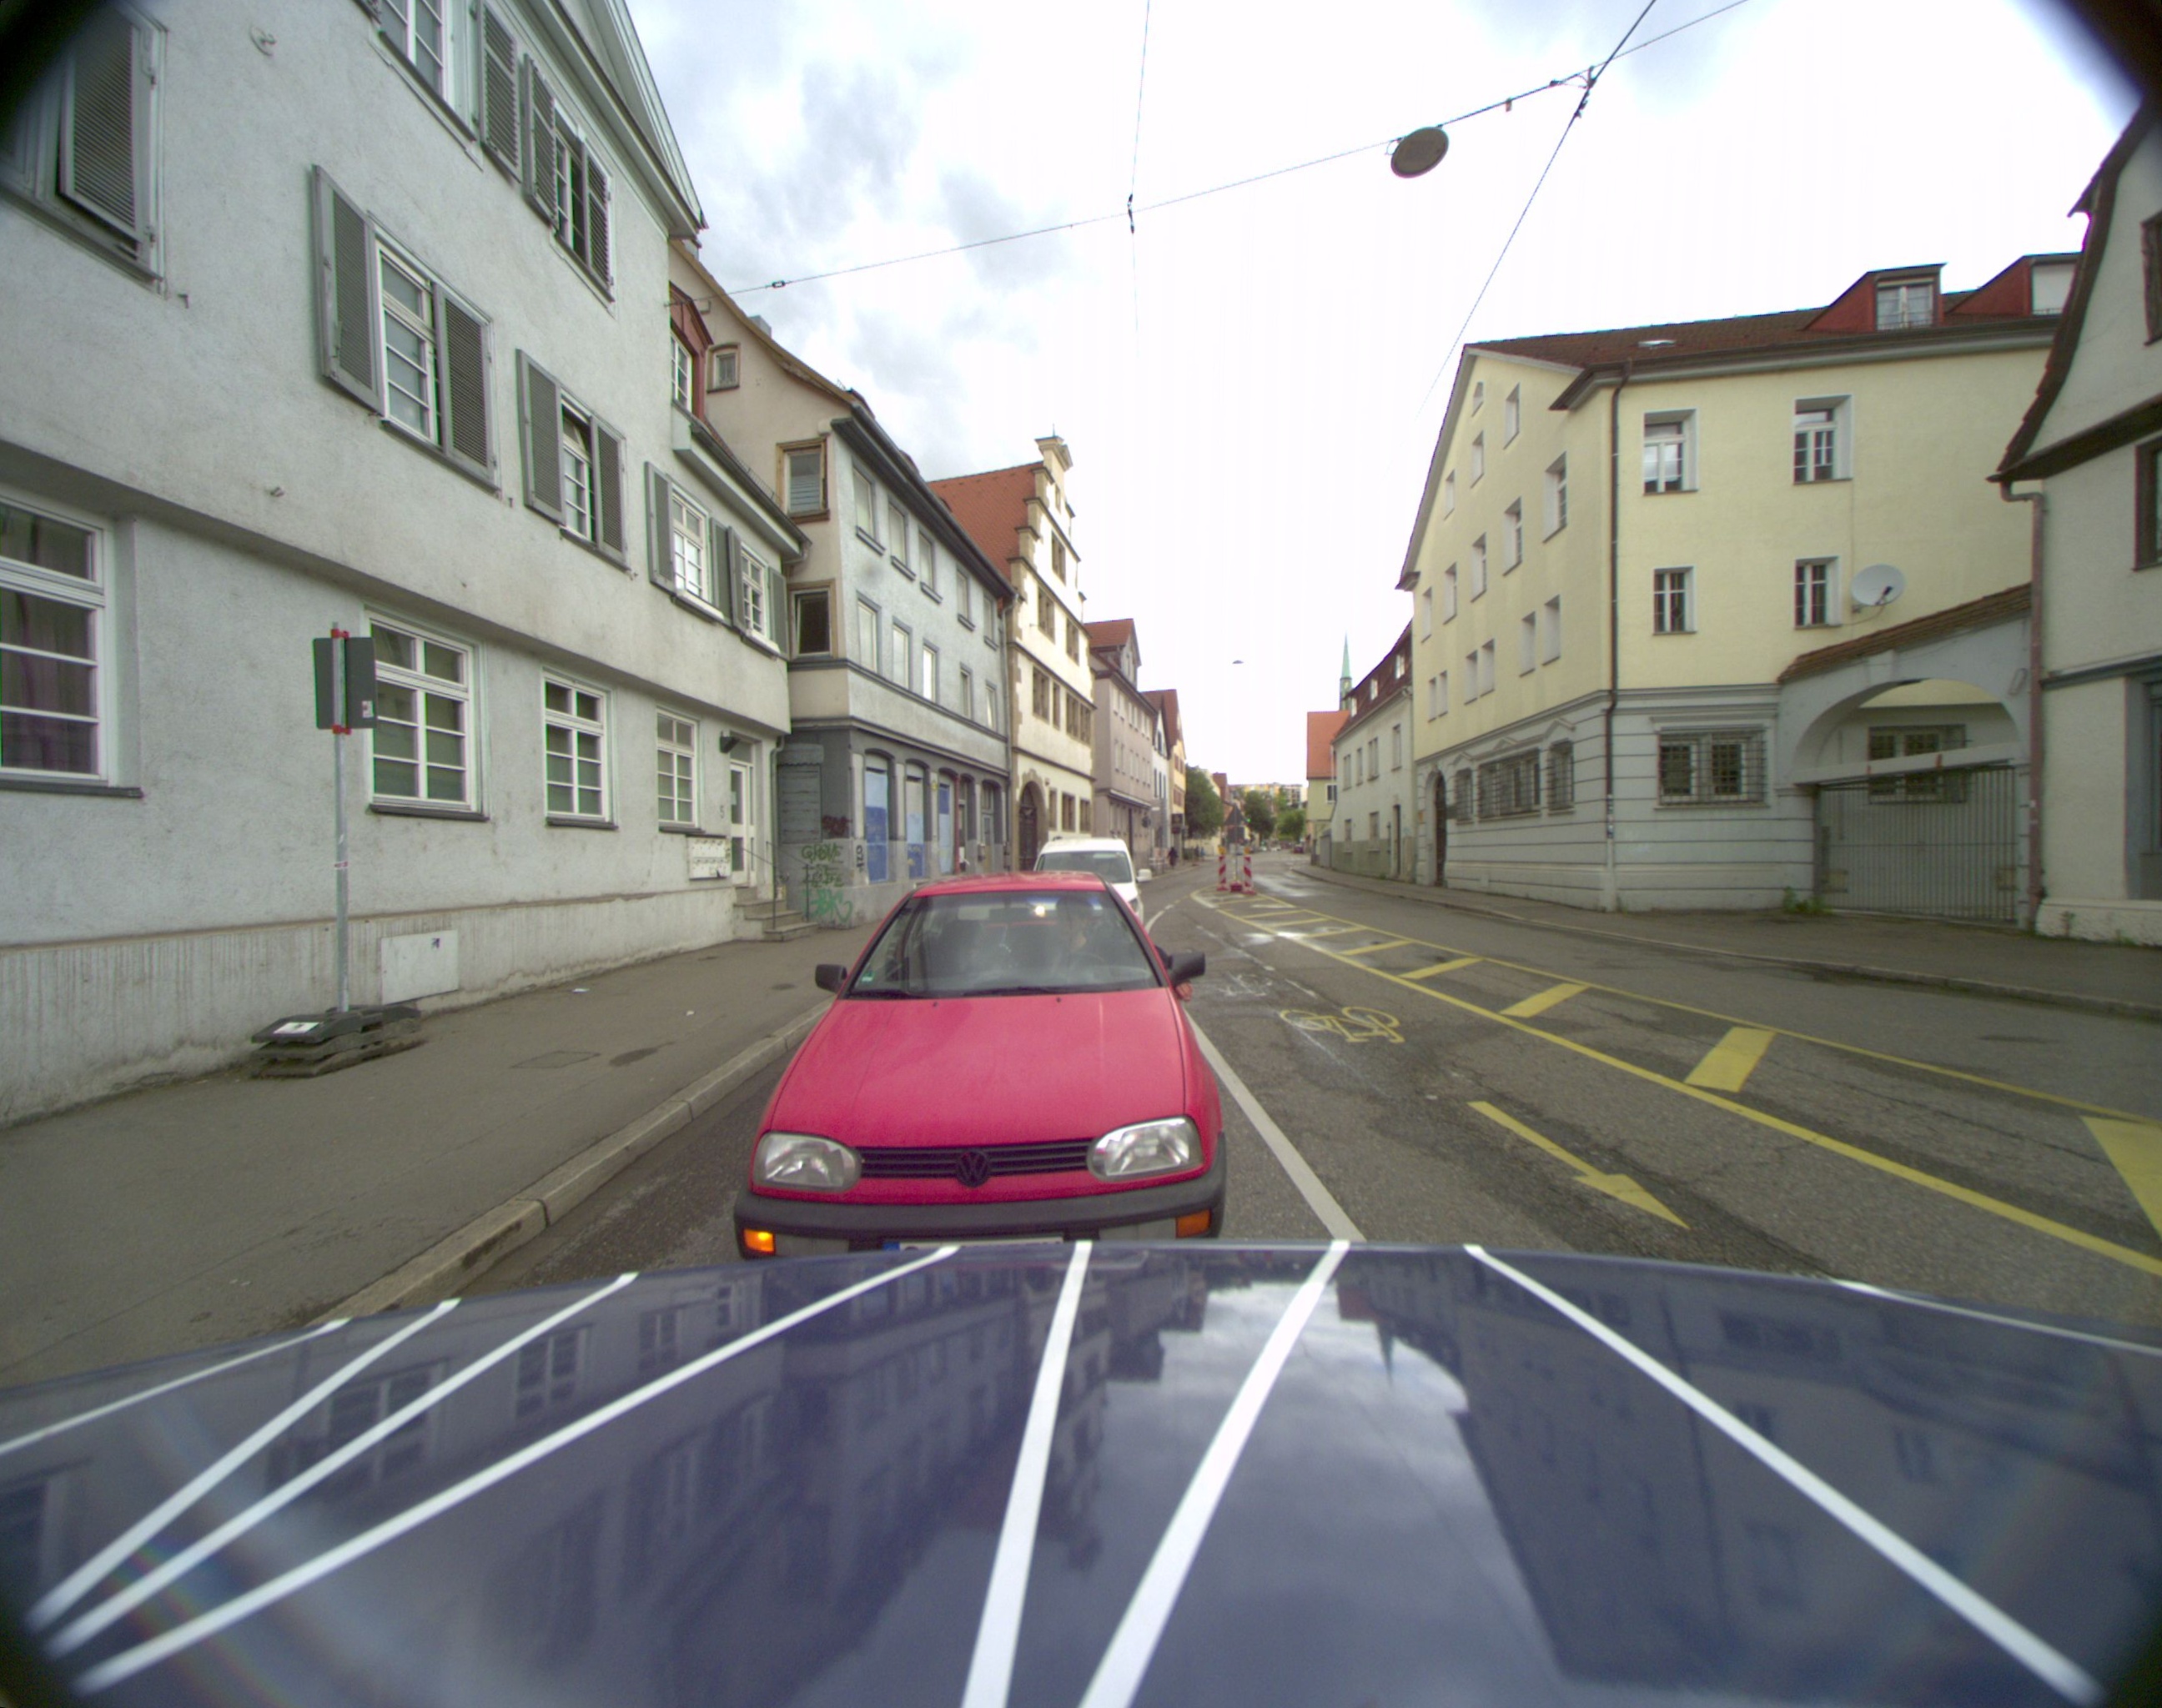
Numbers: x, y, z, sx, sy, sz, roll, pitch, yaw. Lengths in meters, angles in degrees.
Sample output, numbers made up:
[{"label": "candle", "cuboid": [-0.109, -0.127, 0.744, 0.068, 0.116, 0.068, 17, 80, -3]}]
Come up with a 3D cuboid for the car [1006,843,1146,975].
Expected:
[{"label": "car", "cuboid": [0.023, 0.698, 12.164, 1.814, 1.695, 4.256, -1, 1, 2]}]

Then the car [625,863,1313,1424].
[{"label": "car", "cuboid": [-0.293, 0.796, 4.026, 1.792, 1.417, 4.000, -2, 0, 0]}]

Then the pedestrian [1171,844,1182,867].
[{"label": "pedestrian", "cuboid": [6.905, 0.106, 55.066, 0.725, 1.604, 0.649, -1, 1, 13]}]

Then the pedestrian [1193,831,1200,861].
[{"label": "pedestrian", "cuboid": [9.691, -0.649, 63.735, 0.495, 2.513, 0.746, -1, 1, 12]}]
